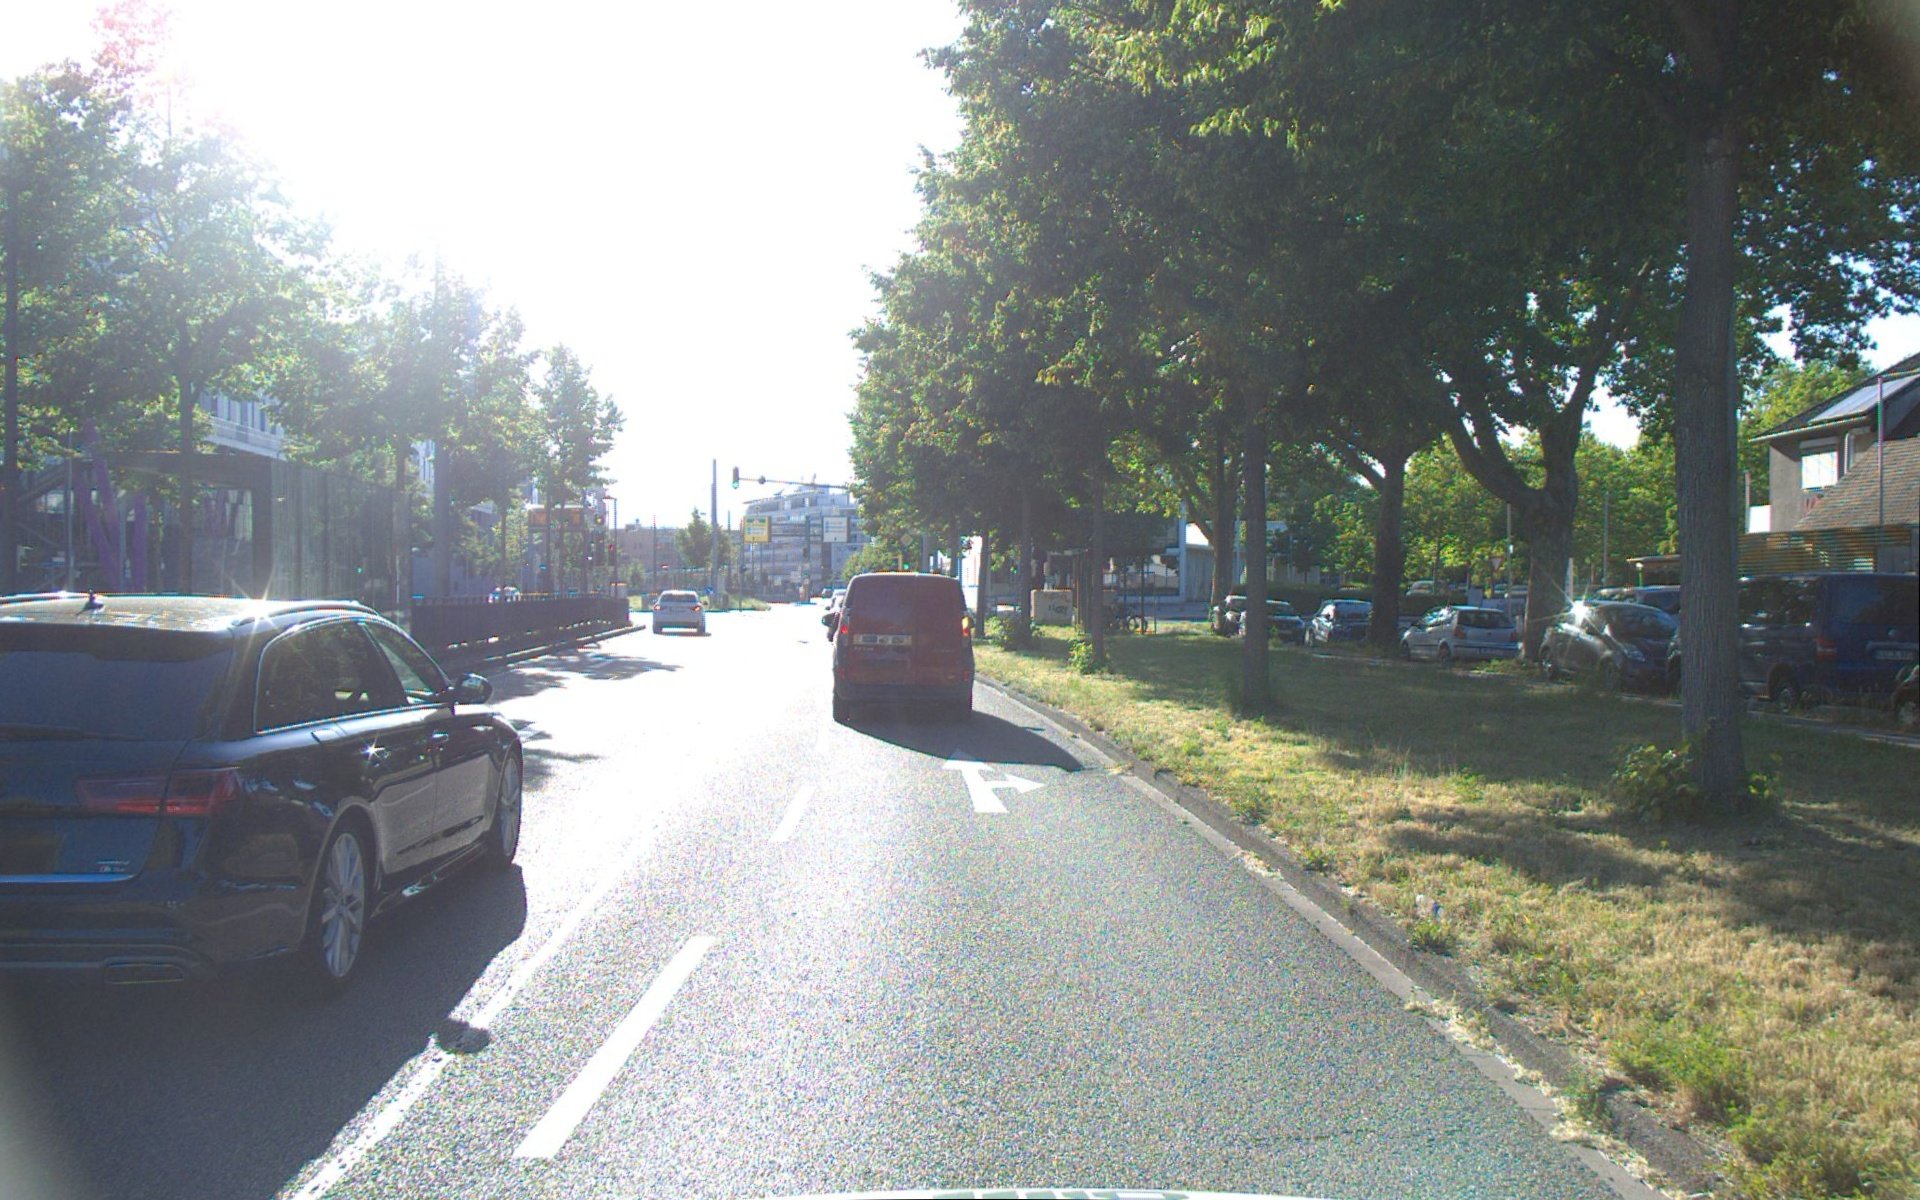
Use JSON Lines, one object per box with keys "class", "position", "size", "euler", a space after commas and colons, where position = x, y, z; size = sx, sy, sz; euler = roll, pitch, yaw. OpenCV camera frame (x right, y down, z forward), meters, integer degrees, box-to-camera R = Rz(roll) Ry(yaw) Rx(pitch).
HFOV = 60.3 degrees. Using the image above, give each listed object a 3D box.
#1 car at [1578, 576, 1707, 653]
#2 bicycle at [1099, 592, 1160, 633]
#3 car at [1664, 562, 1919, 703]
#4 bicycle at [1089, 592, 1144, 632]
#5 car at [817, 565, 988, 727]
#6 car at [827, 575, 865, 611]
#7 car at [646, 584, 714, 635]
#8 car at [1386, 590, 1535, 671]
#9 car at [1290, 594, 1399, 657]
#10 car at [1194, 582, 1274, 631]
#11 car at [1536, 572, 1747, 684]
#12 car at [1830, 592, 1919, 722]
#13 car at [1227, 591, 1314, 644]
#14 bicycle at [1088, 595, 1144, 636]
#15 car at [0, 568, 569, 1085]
{"class": "car", "position": [19.232, 0.407, 46.785], "size": [1.953, 2.049, 4.000], "euler": [-1, 0, 0]}
{"class": "bicycle", "position": [5.430, 0.386, 52.928], "size": [1.880, 1.290, 0.479], "euler": [0, 0, -5]}
{"class": "car", "position": [11.472, 0.423, 22.435], "size": [1.835, 1.713, 3.995], "euler": [2, 0, -5]}
{"class": "bicycle", "position": [5.200, 0.403, 55.022], "size": [1.743, 1.290, 0.479], "euler": [0, 0, -5]}
{"class": "car", "position": [-0.842, 0.552, 21.535], "size": [1.775, 1.870, 3.992], "euler": [2, 0, -8]}
{"class": "car", "position": [-6.810, -0.415, 99.064], "size": [2.225, 2.049, 4.706], "euler": [0, 0, -4]}
{"class": "car", "position": [-9.600, 0.331, 56.928], "size": [1.955, 1.646, 3.996], "euler": [2, 0, -5]}
{"class": "car", "position": [11.390, 0.663, 37.912], "size": [1.835, 1.713, 3.994], "euler": [-1, 0, -6]}
{"class": "car", "position": [11.018, 0.707, 47.657], "size": [1.835, 1.713, 3.994], "euler": [2, 0, -6]}
{"class": "car", "position": [10.111, 0.242, 61.259], "size": [1.835, 1.713, 3.994], "euler": [2, 0, -7]}
{"class": "car", "position": [11.438, 0.458, 28.055], "size": [1.833, 1.713, 3.999], "euler": [1, 0, -2]}
{"class": "car", "position": [11.257, 0.634, 17.411], "size": [1.835, 1.391, 3.995], "euler": [2, 0, -5]}
{"class": "car", "position": [10.605, 0.575, 56.777], "size": [1.835, 1.713, 3.994], "euler": [2, 0, -6]}
{"class": "bicycle", "position": [5.067, 0.497, 53.821], "size": [1.743, 1.290, 0.479], "euler": [2, -1, -5]}
{"class": "car", "position": [-3.176, 0.637, 7.348], "size": [1.914, 1.506, 5.081], "euler": [1, 0, -3]}
